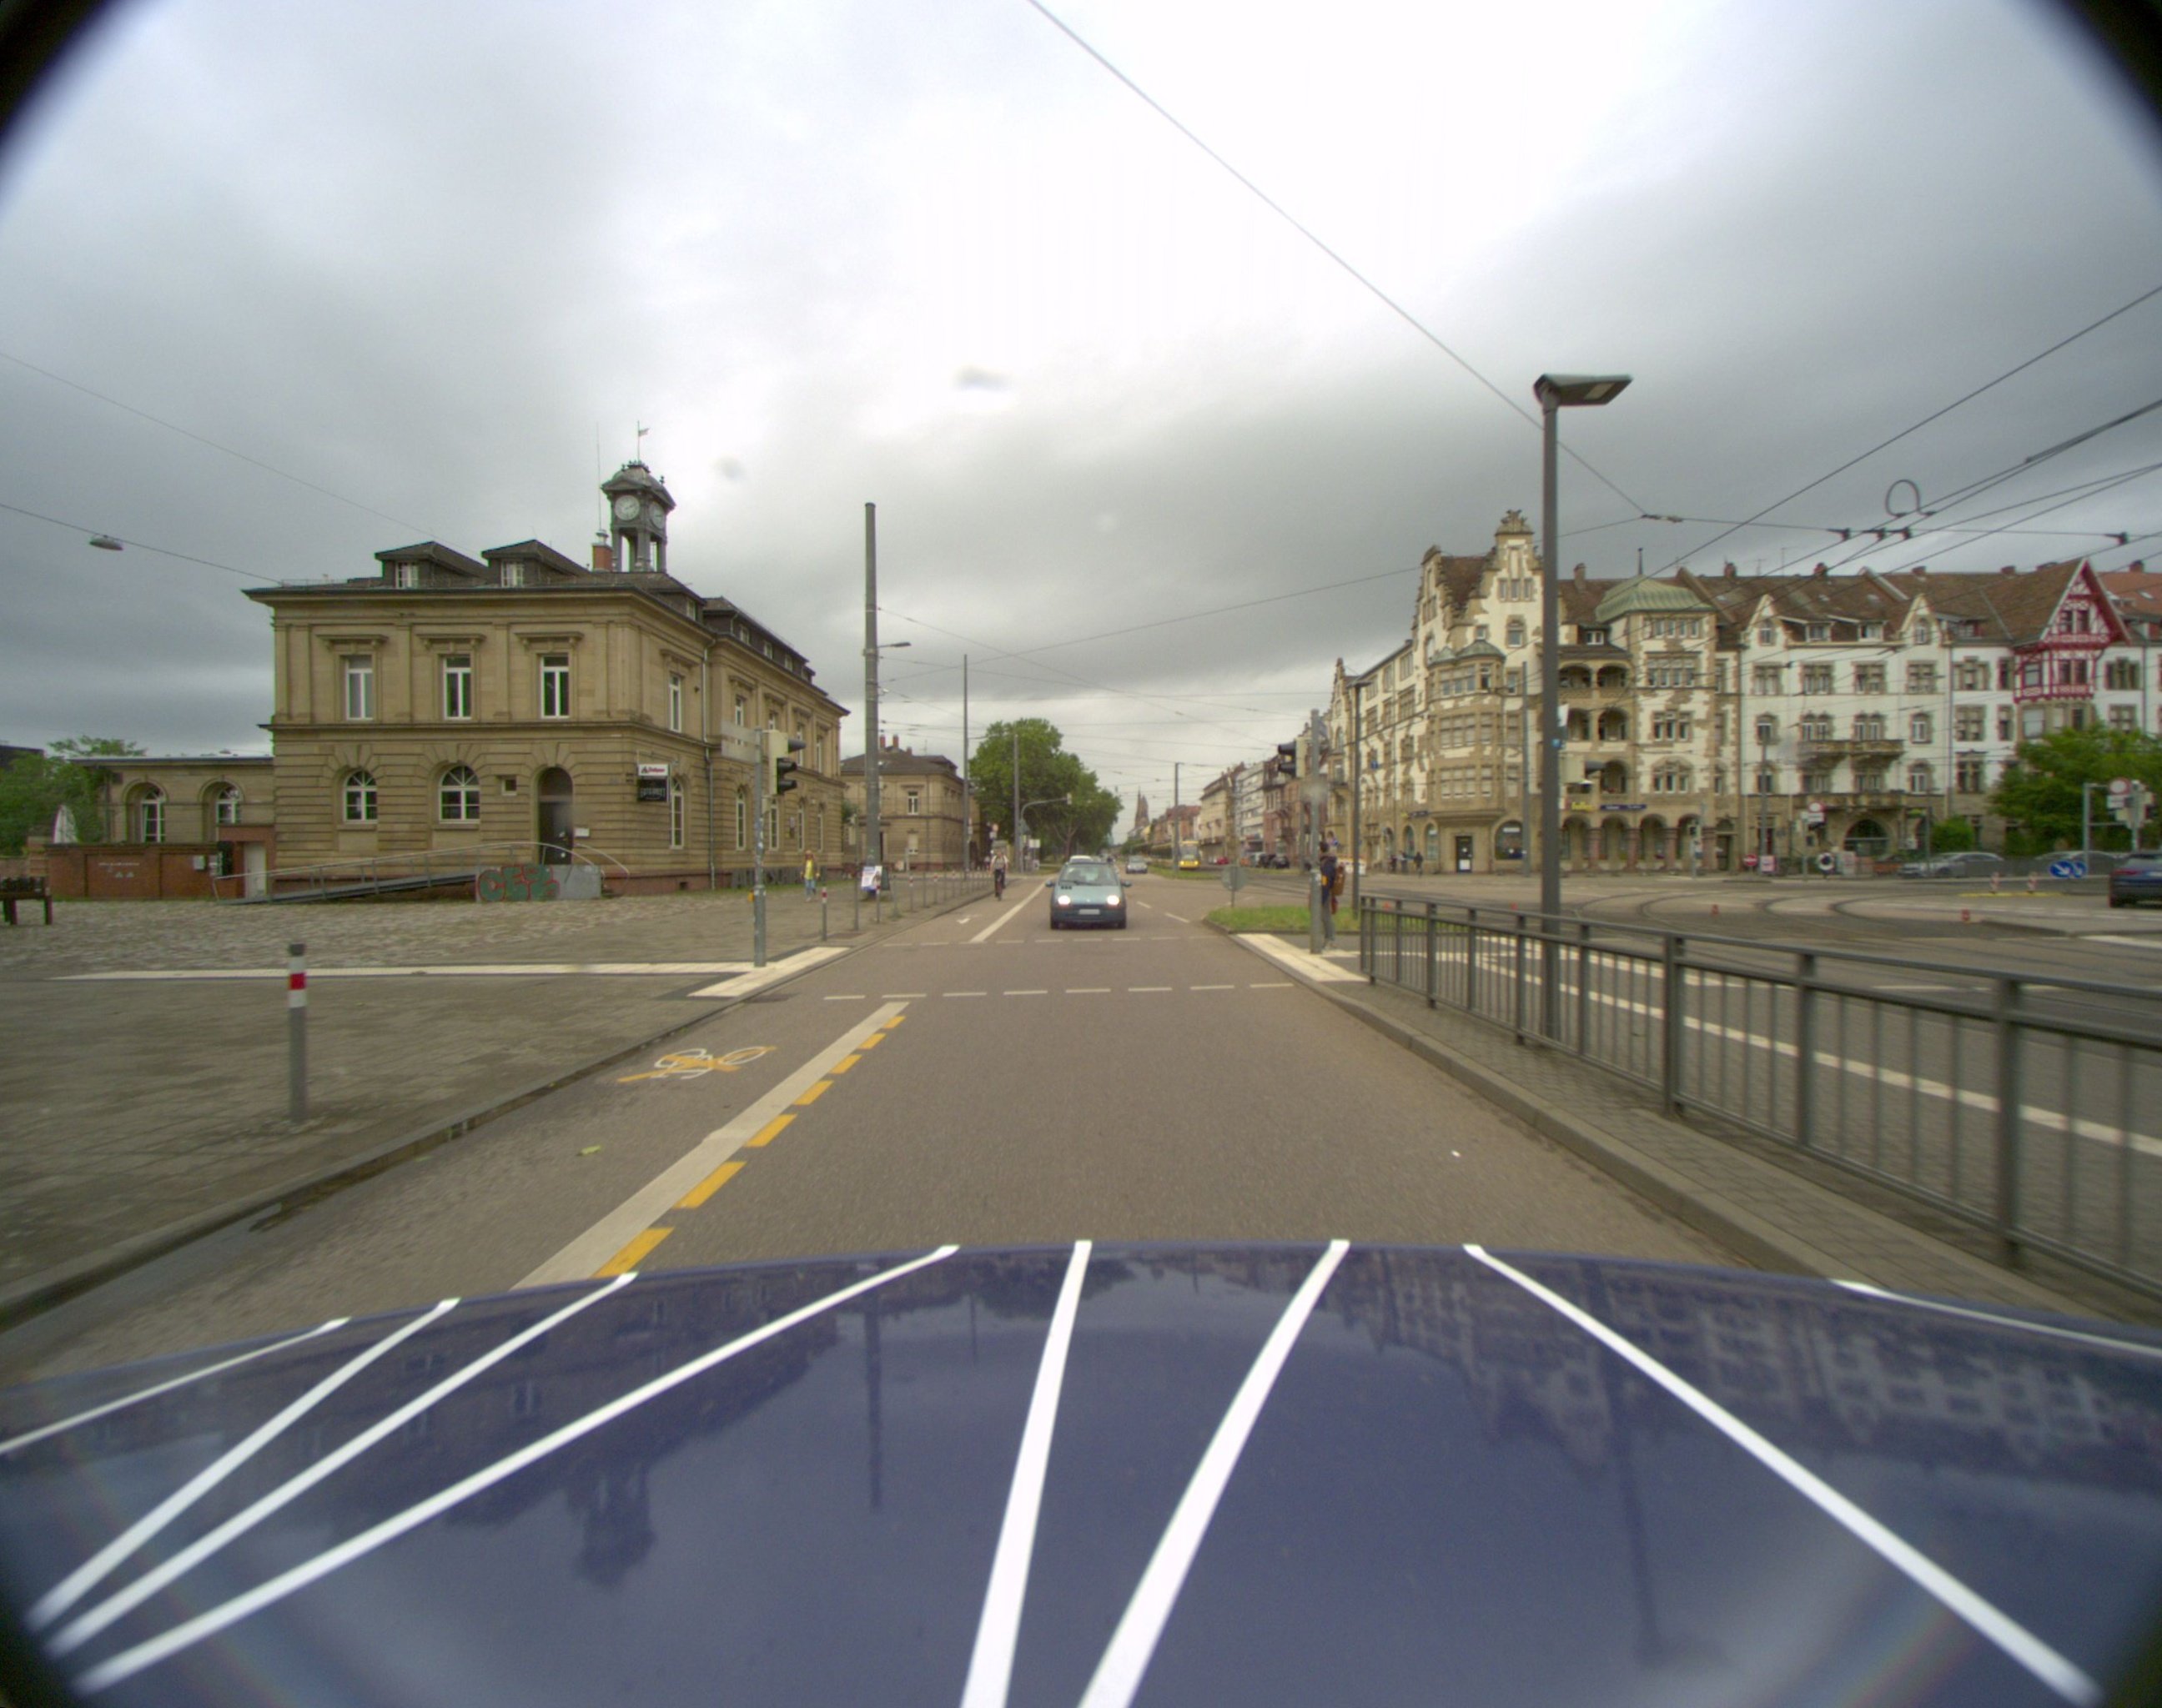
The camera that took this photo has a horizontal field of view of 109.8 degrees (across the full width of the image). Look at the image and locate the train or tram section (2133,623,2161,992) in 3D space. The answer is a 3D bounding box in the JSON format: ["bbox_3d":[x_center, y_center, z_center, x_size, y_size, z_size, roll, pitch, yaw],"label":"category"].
[{"bbox_3d":[11.940,-0.386,1.716,2.862,3.619,11.764,0,1,1],"label":"train or tram section"}]

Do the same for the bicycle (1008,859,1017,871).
[{"bbox_3d":[-6.498,1.008,71.820,0.718,1.062,1.699,0,1,0],"label":"bicycle"}]

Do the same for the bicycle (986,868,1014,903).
[{"bbox_3d":[-3.031,1.153,28.519,0.814,1.163,2.276,0,1,0],"label":"bicycle"}]

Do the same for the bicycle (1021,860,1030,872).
[{"bbox_3d":[-5.262,1.104,71.766,0.718,1.062,1.699,0,1,0],"label":"bicycle"}]

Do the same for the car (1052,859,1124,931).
[{"bbox_3d":[0.237,0.905,18.086,1.534,1.464,3.353,1,1,3],"label":"car"}]

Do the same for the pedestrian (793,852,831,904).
[{"bbox_3d":[-8.761,0.768,24.780,0.720,1.668,1.000,0,1,11],"label":"pedestrian"}]

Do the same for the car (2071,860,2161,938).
[{"bbox_3d":[21.222,0.851,13.730,1.743,1.441,3.769,0,0,0],"label":"car"}]

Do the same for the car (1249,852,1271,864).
[{"bbox_3d":[24.276,0.521,103.319,1.999,1.587,3.999,0,1,-1],"label":"car"}]

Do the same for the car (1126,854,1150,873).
[{"bbox_3d":[5.086,0.826,68.029,1.869,1.630,3.775,0,1,0],"label":"car"}]

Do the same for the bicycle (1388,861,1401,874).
[{"bbox_3d":[24.847,1.038,60.175,0.707,1.031,2.025,0,0,15],"label":"bicycle"}]

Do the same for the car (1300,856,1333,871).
[{"bbox_3d":[24.095,0.970,77.849,1.999,1.434,3.999,0,1,-1],"label":"car"}]

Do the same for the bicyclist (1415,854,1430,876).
[{"bbox_3d":[23.172,0.750,51.605,0.750,1.511,0.766,0,-1,8],"label":"bicyclist"}]

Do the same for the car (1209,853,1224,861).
[{"bbox_3d":[25.267,0.556,141.515,1.999,1.587,3.999,0,1,-1],"label":"car"}]

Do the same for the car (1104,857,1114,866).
[{"bbox_3d":[6.464,1.699,175.303,1.999,2.002,3.999,0,1,0],"label":"car"}]

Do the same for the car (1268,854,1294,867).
[{"bbox_3d":[23.835,0.761,90.712,1.999,1.434,3.999,0,1,-1],"label":"car"}]

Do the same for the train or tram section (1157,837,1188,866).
[{"bbox_3d":[11.347,-0.392,95.301,2.651,3.417,13.618,0,1,2],"label":"train or tram section"}]

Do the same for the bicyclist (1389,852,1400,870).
[{"bbox_3d":[24.845,0.580,60.170,0.707,1.435,0.974,0,0,15],"label":"bicyclist"}]

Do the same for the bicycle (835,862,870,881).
[{"bbox_3d":[-13.244,1.019,44.086,1.859,1.072,0.546,2,0,-17],"label":"bicycle"}]

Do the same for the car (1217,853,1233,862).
[{"bbox_3d":[25.667,0.601,135.152,1.999,1.587,3.999,0,1,-1],"label":"car"}]

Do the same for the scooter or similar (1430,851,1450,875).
[{"bbox_3d":[26.577,0.660,56.287,0.565,1.706,1.830,0,1,0],"label":"scooter or similar"}]

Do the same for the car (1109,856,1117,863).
[{"bbox_3d":[9.375,1.594,221.832,1.999,2.002,3.999,0,1,0],"label":"car"}]

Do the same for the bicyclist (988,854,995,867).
[{"bbox_3d":[-9.612,0.652,81.590,0.695,1.392,0.815,0,1,-12],"label":"bicyclist"}]

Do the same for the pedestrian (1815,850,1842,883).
[{"bbox_3d":[37.618,0.624,38.253,0.608,1.677,0.704,0,1,0],"label":"pedestrian"}]

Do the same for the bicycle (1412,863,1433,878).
[{"bbox_3d":[23.177,1.122,51.606,0.750,1.030,1.917,0,-1,8],"label":"bicycle"}]

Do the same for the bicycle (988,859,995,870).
[{"bbox_3d":[-9.607,1.133,81.549,0.677,1.158,2.112,0,1,-7],"label":"bicycle"}]

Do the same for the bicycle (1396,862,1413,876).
[{"bbox_3d":[24.060,1.121,56.567,0.723,1.030,1.911,0,-1,9],"label":"bicycle"}]

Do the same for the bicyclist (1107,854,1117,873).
[{"bbox_3d":[2.652,0.808,64.481,0.812,1.586,0.890,0,-1,0],"label":"bicyclist"}]

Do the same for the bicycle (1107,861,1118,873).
[{"bbox_3d":[2.662,1.108,64.266,0.812,0.939,2.147,0,-2,0],"label":"bicycle"}]

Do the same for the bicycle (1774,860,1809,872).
[{"bbox_3d":[45.687,0.787,48.878,0.561,0.734,1.803,0,1,1],"label":"bicycle"}]

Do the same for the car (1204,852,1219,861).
[{"bbox_3d":[25.160,0.475,146.656,1.999,1.587,3.999,0,1,-1],"label":"car"}]

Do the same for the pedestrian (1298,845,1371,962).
[{"bbox_3d":[3.707,0.683,11.123,0.862,1.633,0.651,-1,2,-40],"label":"pedestrian"}]

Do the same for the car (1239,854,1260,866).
[{"bbox_3d":[24.422,0.871,110.101,1.999,1.587,3.999,0,1,-1],"label":"car"}]

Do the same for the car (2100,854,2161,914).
[{"bbox_3d":[29.189,0.759,20.607,4.375,1.485,1.740,0,0,-35],"label":"car"}]

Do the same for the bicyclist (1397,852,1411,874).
[{"bbox_3d":[24.070,0.653,56.645,0.723,1.596,0.860,0,-1,8],"label":"bicyclist"}]

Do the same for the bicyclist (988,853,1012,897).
[{"bbox_3d":[-3.023,0.757,28.470,0.812,1.591,1.189,0,1,-2],"label":"bicyclist"}]

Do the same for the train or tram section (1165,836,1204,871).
[{"bbox_3d":[10.940,-0.157,81.721,2.651,3.417,13.618,0,1,2],"label":"train or tram section"}]

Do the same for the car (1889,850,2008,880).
[{"bbox_3d":[45.284,0.574,39.734,3.996,1.502,1.800,0,1,3],"label":"car"}]

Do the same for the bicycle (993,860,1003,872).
[{"bbox_3d":[-7.832,1.121,71.833,0.718,1.062,1.699,0,1,0],"label":"bicycle"}]

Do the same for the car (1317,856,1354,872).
[{"bbox_3d":[23.890,0.932,71.437,1.999,1.434,3.999,0,1,-1],"label":"car"}]

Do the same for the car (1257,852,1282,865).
[{"bbox_3d":[23.984,0.606,96.779,1.999,1.587,3.999,0,1,-1],"label":"car"}]
